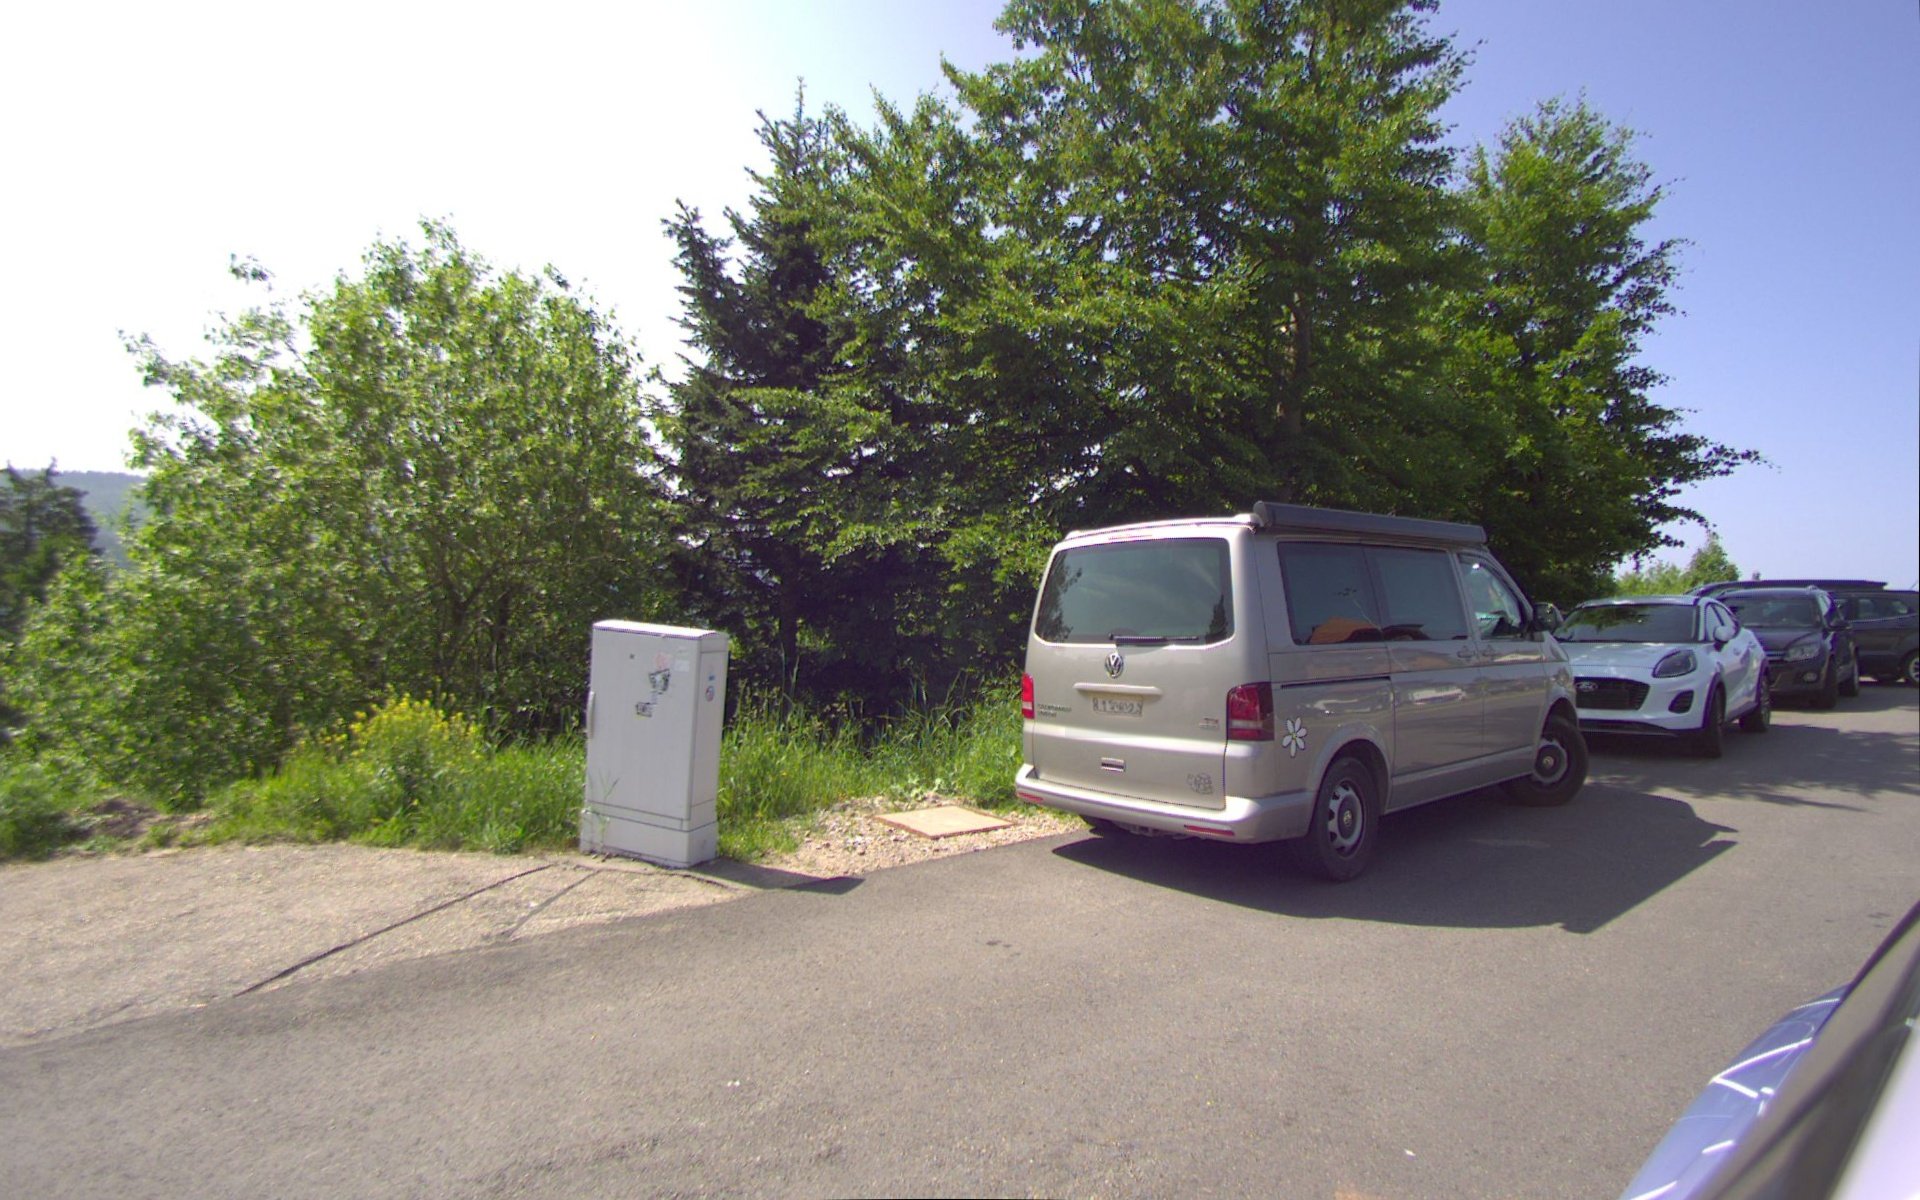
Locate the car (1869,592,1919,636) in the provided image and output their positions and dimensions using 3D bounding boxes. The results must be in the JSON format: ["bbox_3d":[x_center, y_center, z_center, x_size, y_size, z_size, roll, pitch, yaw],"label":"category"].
[{"bbox_3d":[46.078,0.727,47.751,1.843,1.949,4.457,1,3,-39],"label":"car"}]

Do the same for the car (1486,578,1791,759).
[{"bbox_3d":[7.366,0.605,10.838,3.933,1.567,1.872,0,-1,-43],"label":"car"}]

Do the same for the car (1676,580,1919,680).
[{"bbox_3d":[15.216,0.506,17.864,3.964,1.639,1.857,-1,-1,29],"label":"car"}]

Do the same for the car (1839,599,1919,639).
[{"bbox_3d":[43.398,0.903,46.758,1.843,1.634,3.910,1,3,-39],"label":"car"}]

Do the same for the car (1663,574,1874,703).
[{"bbox_3d":[11.971,0.503,14.899,3.933,1.639,1.872,0,-1,-43],"label":"car"}]

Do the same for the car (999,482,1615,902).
[{"bbox_3d":[2.575,0.449,6.897,4.526,1.960,1.861,0,-1,-39],"label":"car"}]

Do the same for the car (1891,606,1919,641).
[{"bbox_3d":[48.557,1.243,49.707,1.843,1.634,3.910,1,3,-39],"label":"car"}]

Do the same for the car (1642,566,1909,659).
[{"bbox_3d":[18.341,0.277,23.069,4.420,1.950,1.857,-1,-1,29],"label":"car"}]
